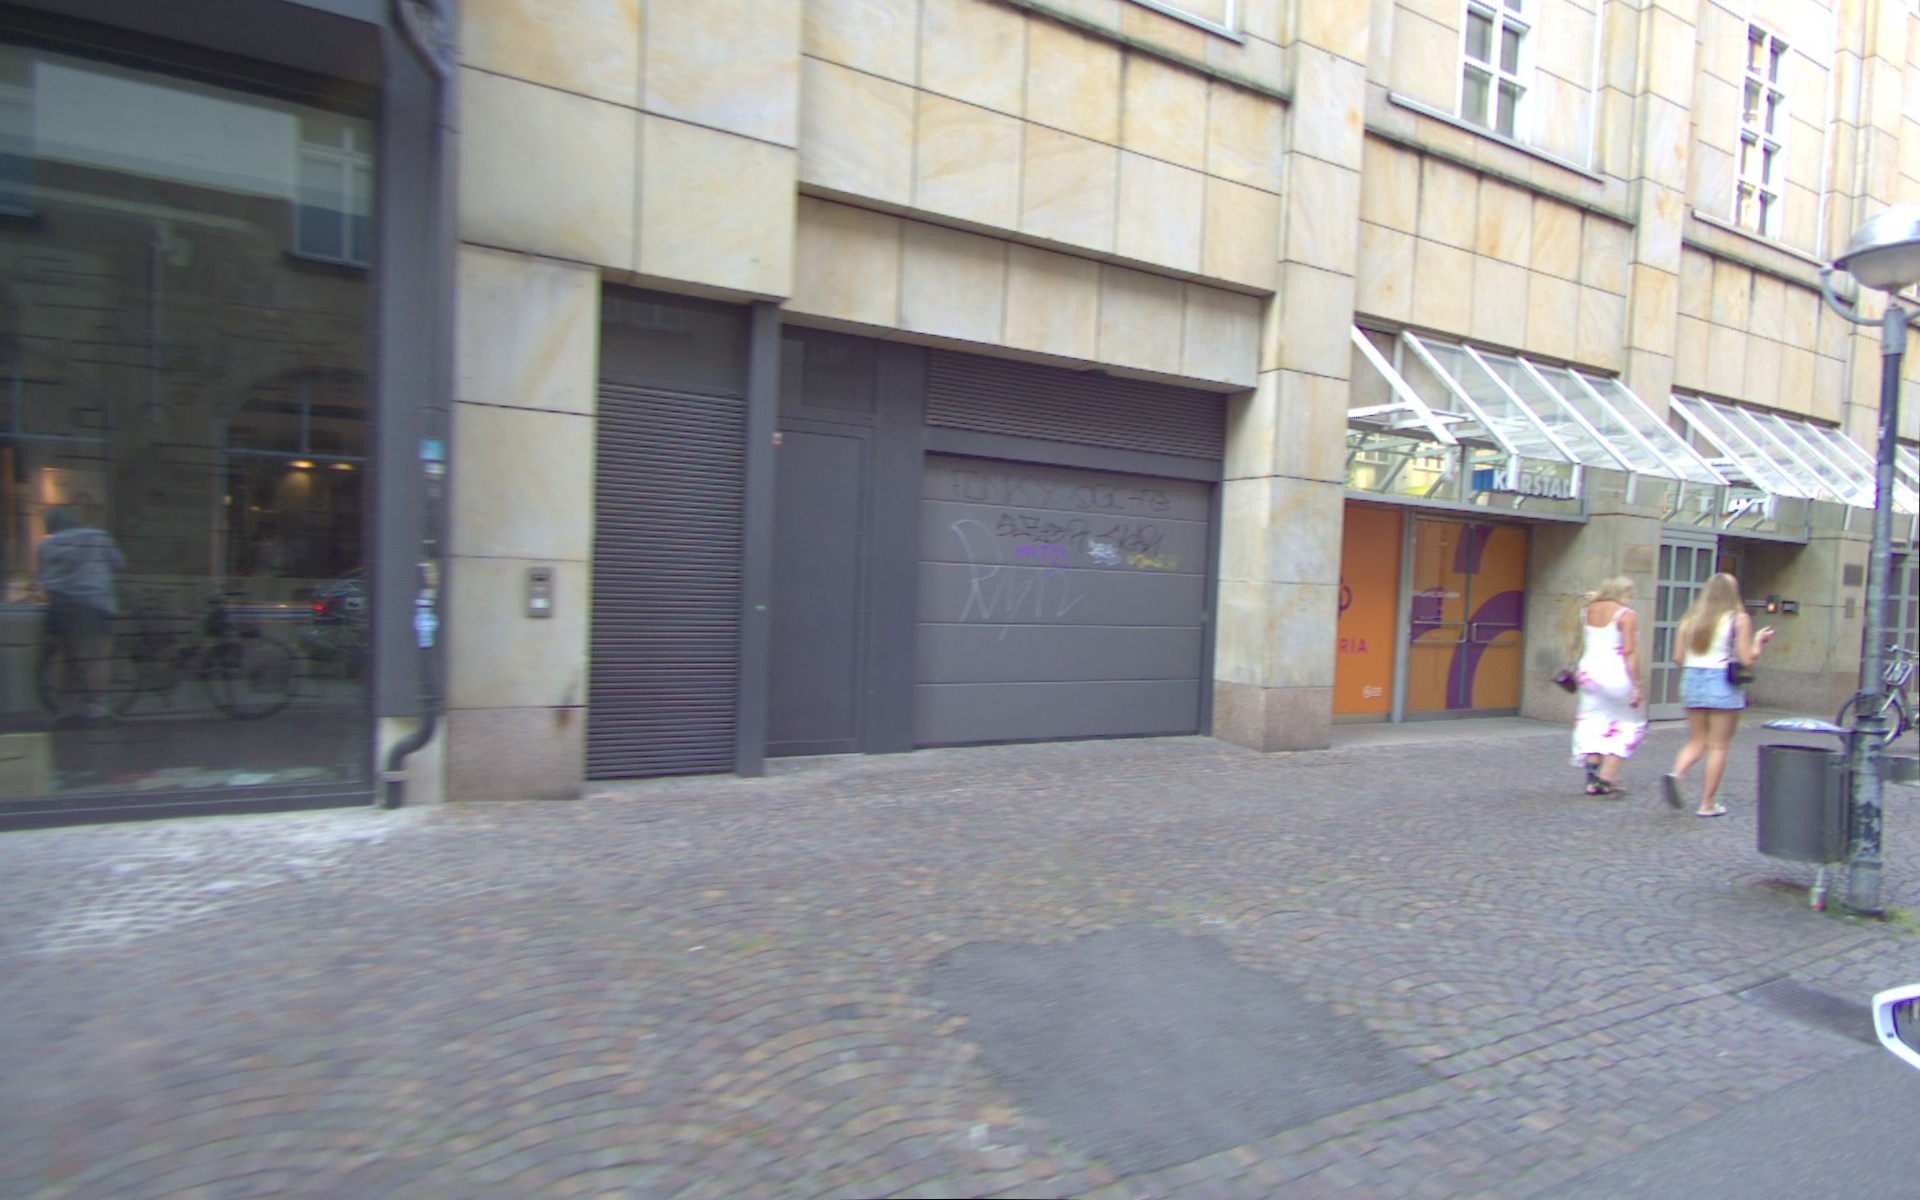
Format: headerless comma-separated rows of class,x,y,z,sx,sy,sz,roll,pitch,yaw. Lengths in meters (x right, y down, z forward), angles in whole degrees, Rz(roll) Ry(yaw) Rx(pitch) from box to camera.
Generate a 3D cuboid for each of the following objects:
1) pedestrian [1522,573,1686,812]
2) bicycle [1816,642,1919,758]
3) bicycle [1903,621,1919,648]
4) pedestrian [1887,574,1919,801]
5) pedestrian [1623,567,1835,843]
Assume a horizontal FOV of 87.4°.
pedestrian,4.897,0.661,7.649,0.850,1.687,0.671,1,2,-30
bicycle,10.138,1.060,10.745,1.734,1.153,0.522,2,1,-13
bicycle,41.270,1.505,42.527,1.881,1.127,0.479,2,1,39
pedestrian,8.238,0.718,8.113,0.960,1.819,0.781,1,2,-29
pedestrian,5.320,0.669,6.971,0.937,1.753,0.802,1,2,-30
